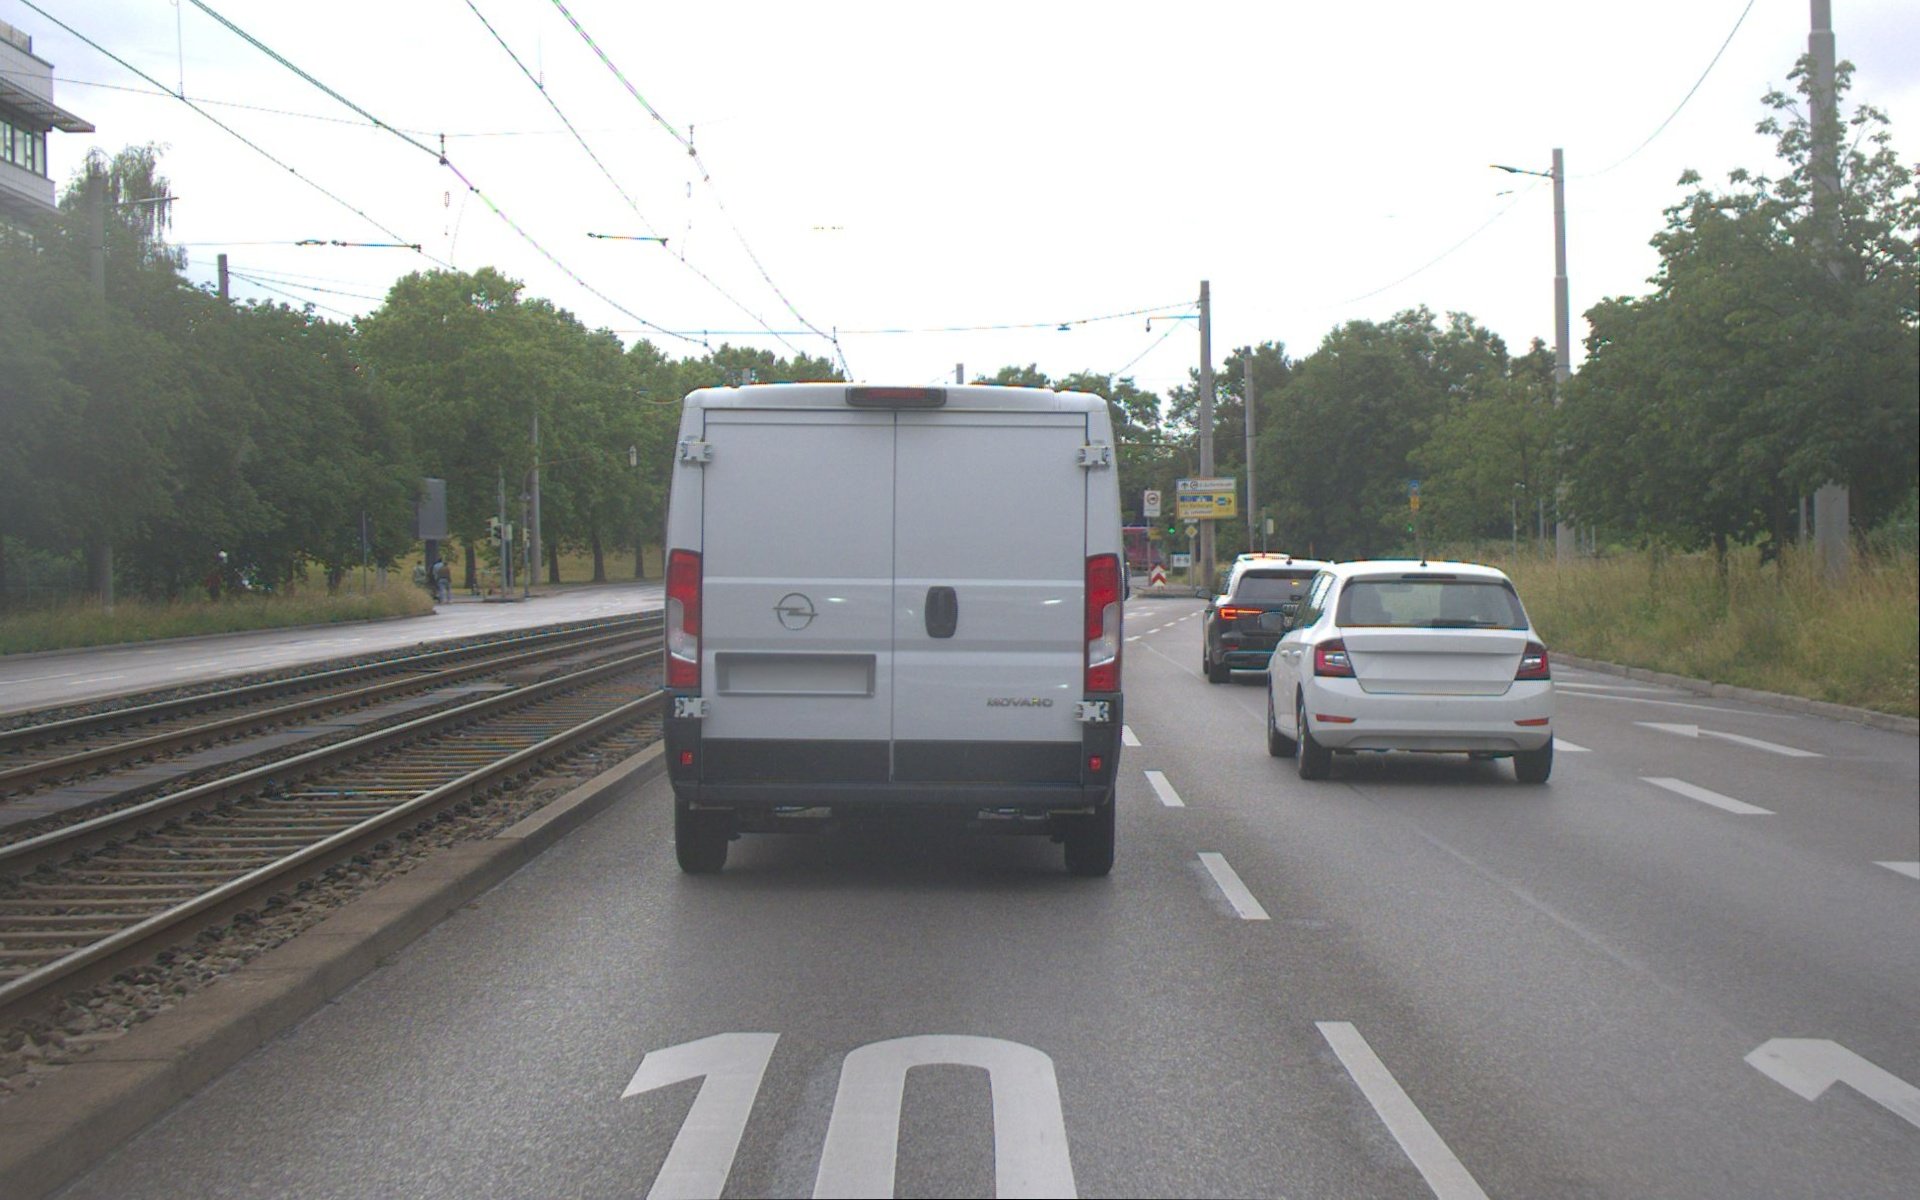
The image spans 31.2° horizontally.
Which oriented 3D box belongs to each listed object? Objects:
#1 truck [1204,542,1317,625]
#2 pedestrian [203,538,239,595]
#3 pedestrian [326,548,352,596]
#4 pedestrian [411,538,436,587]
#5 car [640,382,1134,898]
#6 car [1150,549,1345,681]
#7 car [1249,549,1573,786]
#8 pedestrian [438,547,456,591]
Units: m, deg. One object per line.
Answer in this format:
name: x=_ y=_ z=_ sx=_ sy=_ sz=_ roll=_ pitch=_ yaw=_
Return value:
truck: x=6.802 y=-0.402 z=78.308 sx=1.993 sy=1.784 sz=4.415 roll=-1 pitch=1 yaw=-2
pedestrian: x=-26.208 y=-1.195 z=121.949 sx=0.887 sy=2.007 sz=0.945 roll=-1 pitch=1 yaw=16
pedestrian: x=-23.004 y=-1.053 z=127.358 sx=0.725 sy=1.749 sz=0.877 roll=1 pitch=1 yaw=4
pedestrian: x=-22.012 y=-1.548 z=141.105 sx=0.887 sy=2.007 sz=0.866 roll=-1 pitch=1 yaw=-2
car: x=-0.337 y=0.117 z=17.328 sx=2.090 sy=2.189 sz=5.061 roll=1 pitch=1 yaw=0
car: x=3.278 y=0.147 z=39.857 sx=1.789 sy=1.444 sz=4.000 roll=0 pitch=1 yaw=-2
car: x=3.026 y=0.401 z=23.753 sx=1.746 sy=1.452 sz=3.671 roll=1 pitch=1 yaw=0
pedestrian: x=-20.752 y=-1.259 z=139.123 sx=0.506 sy=1.781 sz=0.832 roll=1 pitch=1 yaw=6
